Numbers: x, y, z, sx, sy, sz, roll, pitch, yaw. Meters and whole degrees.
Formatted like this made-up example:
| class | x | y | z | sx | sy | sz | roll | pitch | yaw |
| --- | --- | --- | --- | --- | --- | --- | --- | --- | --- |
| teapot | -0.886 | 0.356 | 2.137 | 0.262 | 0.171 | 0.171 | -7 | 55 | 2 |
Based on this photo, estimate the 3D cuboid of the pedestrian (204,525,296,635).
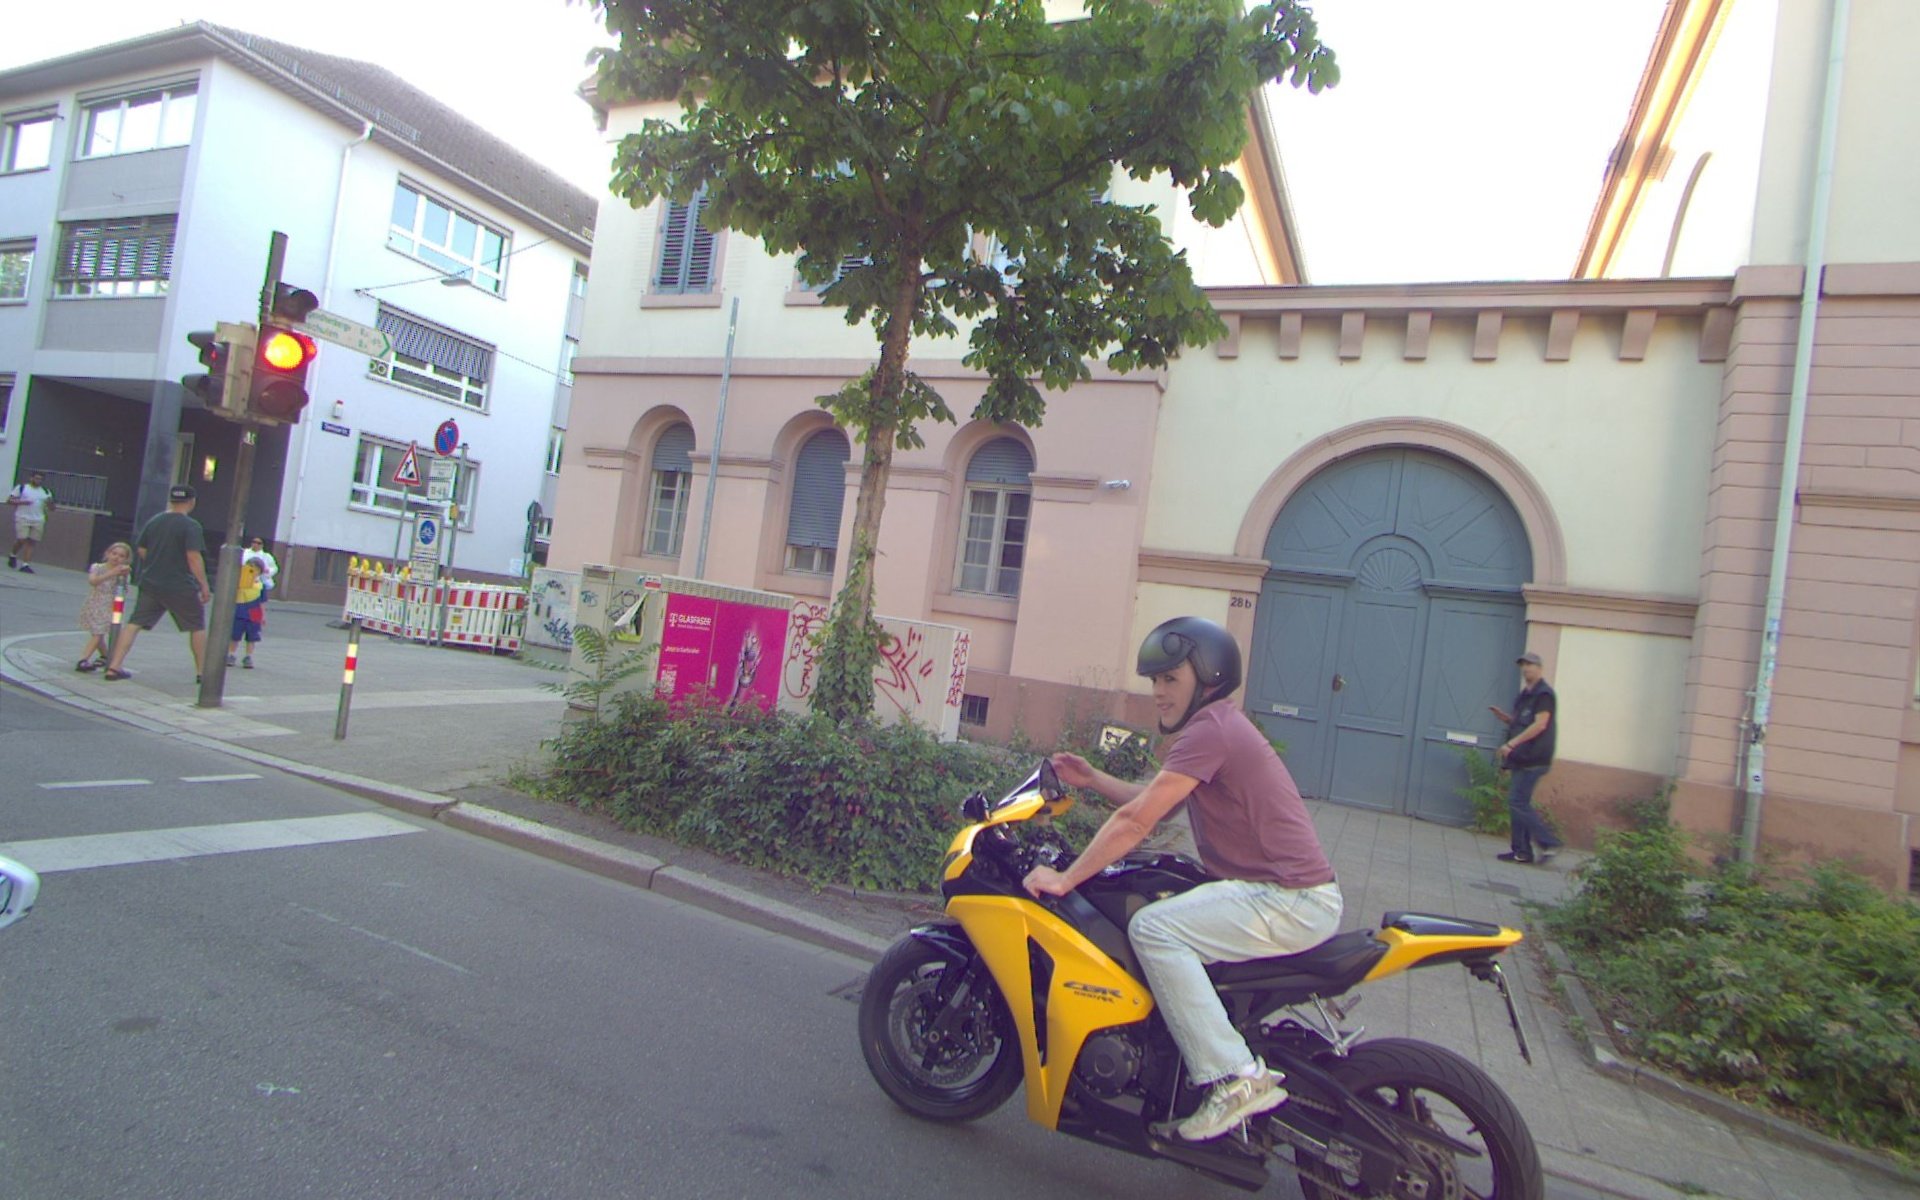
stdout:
| class | x | y | z | sx | sy | sz | roll | pitch | yaw |
| --- | --- | --- | --- | --- | --- | --- | --- | --- | --- |
| pedestrian | -10.695 | -0.294 | 15.184 | 0.766 | 1.518 | 0.798 | 9 | -1 | -20 |

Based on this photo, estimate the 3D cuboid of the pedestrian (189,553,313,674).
| class | x | y | z | sx | sy | sz | roll | pitch | yaw |
| --- | --- | --- | --- | --- | --- | --- | --- | --- | --- |
| pedestrian | -7.459 | 0.145 | 10.594 | 0.821 | 1.134 | 0.567 | 8 | 0 | 16 |

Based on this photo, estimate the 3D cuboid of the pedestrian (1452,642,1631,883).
| class | x | y | z | sx | sy | sz | roll | pitch | yaw |
| --- | --- | --- | --- | --- | --- | --- | --- | --- | --- |
| pedestrian | 5.060 | 1.367 | 8.852 | 1.063 | 1.862 | 0.800 | 8 | 1 | 24 |

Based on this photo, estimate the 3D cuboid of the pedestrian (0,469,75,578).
| class | x | y | z | sx | sy | sz | roll | pitch | yaw |
| --- | --- | --- | --- | --- | --- | --- | --- | --- | --- |
| pedestrian | -17.421 | -1.427 | 18.837 | 0.927 | 1.862 | 0.769 | 8 | -1 | 26 |

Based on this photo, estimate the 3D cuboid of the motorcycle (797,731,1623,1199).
| class | x | y | z | sx | sy | sz | roll | pitch | yaw |
| --- | --- | --- | --- | --- | --- | --- | --- | --- | --- |
| motorcycle | 0.639 | 1.130 | 2.936 | 1.930 | 1.173 | 0.794 | 7 | -3 | 22 |

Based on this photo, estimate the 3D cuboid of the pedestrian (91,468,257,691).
| class | x | y | z | sx | sy | sz | roll | pitch | yaw |
| --- | --- | --- | --- | --- | --- | --- | --- | --- | --- |
| pedestrian | -7.122 | -0.182 | 9.172 | 0.783 | 1.837 | 0.886 | 8 | 1 | -22 |

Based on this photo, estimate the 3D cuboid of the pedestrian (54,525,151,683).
| class | x | y | z | sx | sy | sz | roll | pitch | yaw |
| --- | --- | --- | --- | --- | --- | --- | --- | --- | --- |
| pedestrian | -7.830 | 0.030 | 9.192 | 0.503 | 1.351 | 0.535 | 9 | -2 | -42 |

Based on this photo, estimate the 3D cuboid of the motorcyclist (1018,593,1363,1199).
| class | x | y | z | sx | sy | sz | roll | pitch | yaw |
| --- | --- | --- | --- | --- | --- | --- | --- | --- | --- |
| motorcyclist | 0.713 | 0.777 | 2.938 | 0.686 | 1.435 | 0.794 | 7 | -2 | 22 |
